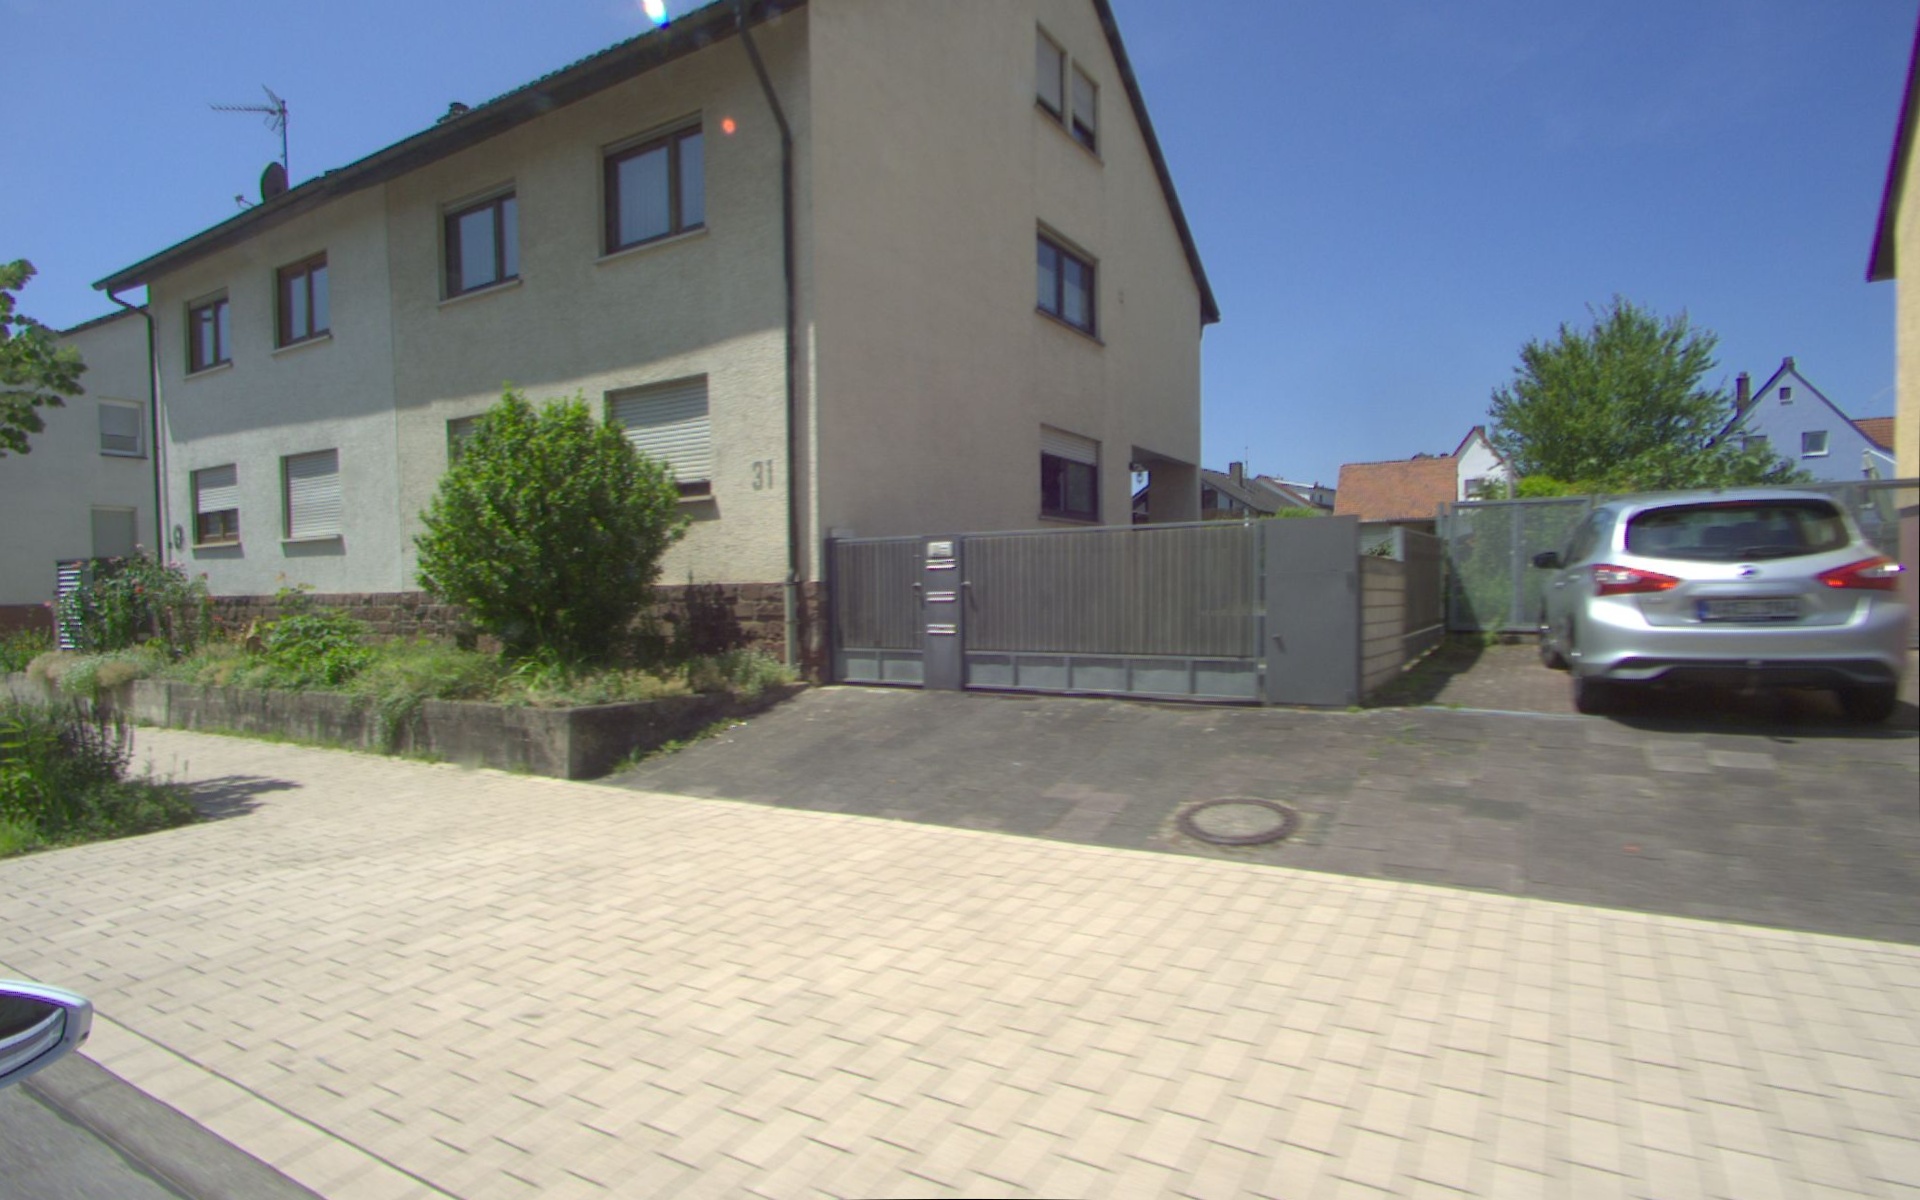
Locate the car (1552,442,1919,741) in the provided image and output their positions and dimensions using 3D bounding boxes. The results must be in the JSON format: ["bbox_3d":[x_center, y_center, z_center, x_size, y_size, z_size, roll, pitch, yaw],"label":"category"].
[{"bbox_3d":[5.740,-0.139,7.785,1.846,1.700,3.979,-1,3,29],"label":"car"}]
